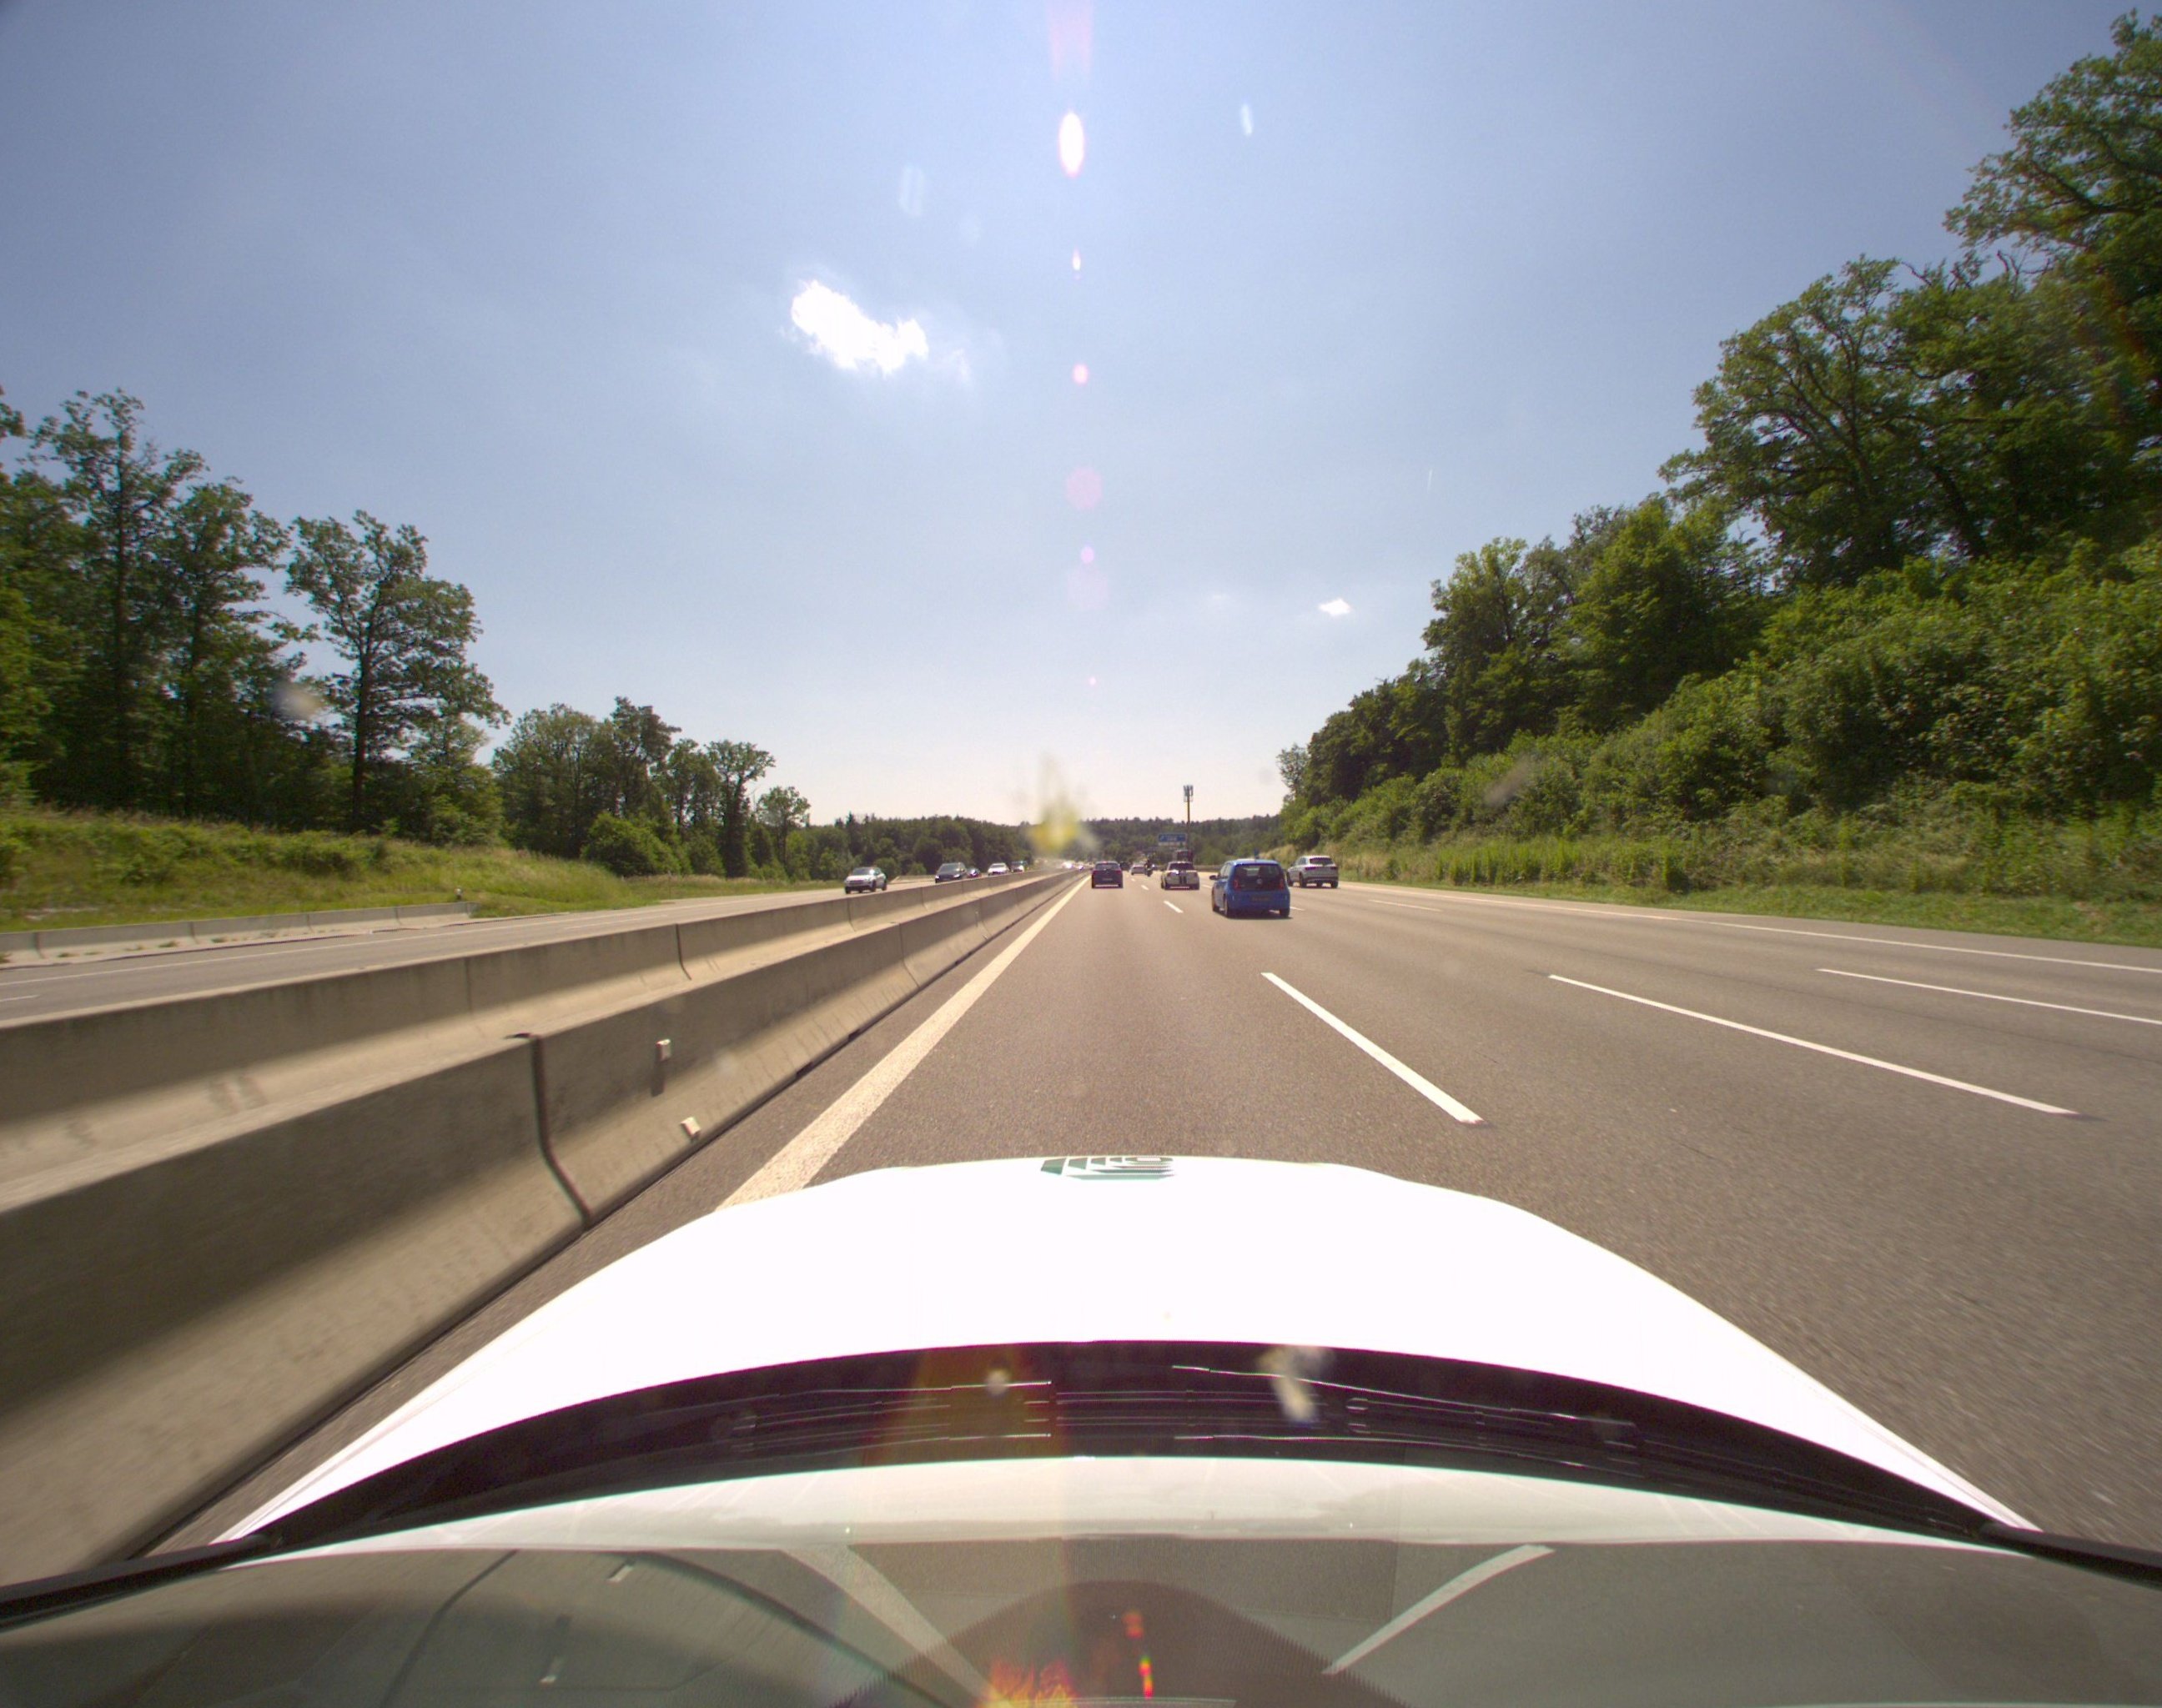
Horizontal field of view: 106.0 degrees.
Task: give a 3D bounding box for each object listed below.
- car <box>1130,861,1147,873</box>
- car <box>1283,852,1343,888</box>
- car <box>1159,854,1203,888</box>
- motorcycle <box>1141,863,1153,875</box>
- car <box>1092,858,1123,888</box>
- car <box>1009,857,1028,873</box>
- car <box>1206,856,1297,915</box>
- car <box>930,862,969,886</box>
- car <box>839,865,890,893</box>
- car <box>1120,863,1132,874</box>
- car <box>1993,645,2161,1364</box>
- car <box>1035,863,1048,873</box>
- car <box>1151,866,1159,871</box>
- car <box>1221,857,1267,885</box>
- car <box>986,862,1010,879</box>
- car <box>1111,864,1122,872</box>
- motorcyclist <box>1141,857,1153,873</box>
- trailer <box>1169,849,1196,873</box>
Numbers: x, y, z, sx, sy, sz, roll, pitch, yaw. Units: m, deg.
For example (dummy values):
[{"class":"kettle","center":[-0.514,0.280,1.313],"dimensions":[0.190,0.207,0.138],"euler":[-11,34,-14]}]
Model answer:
[{"class":"car","center":[6.524,1.458,92.362],"dimensions":[1.776,1.265,3.461],"euler":[-2,0,2]},{"class":"car","center":[12.068,0.789,42.683],"dimensions":[1.794,1.731,5.241],"euler":[0,0,1]},{"class":"car","center":[4.967,0.895,40.884],"dimensions":[1.834,1.552,4.001],"euler":[2,-2,2]},{"class":"motorcycle","center":[6.245,1.384,76.911],"dimensions":[0.974,1.129,2.271],"euler":[-2,-1,0]},{"class":"car","center":[1.464,1.009,44.441],"dimensions":[1.618,1.487,3.687],"euler":[-1,0,2]},{"class":"car","center":[-8.177,1.467,106.631],"dimensions":[1.987,2.013,4.811],"euler":[-2,0,0]},{"class":"car","center":[4.489,0.803,21.972],"dimensions":[1.730,1.411,4.001],"euler":[-1,-1,2]},{"class":"car","center":[-9.248,1.384,57.733],"dimensions":[1.794,1.548,4.731],"euler":[-2,0,2]},{"class":"car","center":[-13.408,1.526,50.744],"dimensions":[1.737,1.562,4.425],"euler":[-4,-1,2]},{"class":"car","center":[8.625,2.798,157.684],"dimensions":[2.090,1.851,4.081],"euler":[-2,0,1]},{"class":"car","center":[3.987,0.412,0.333],"dimensions":[1.954,2.053,4.786],"euler":[-1,0,2]},{"class":"car","center":[-7.589,2.715,155.959],"dimensions":[1.986,1.675,5.281],"euler":[-4,-1,1]},{"class":"car","center":[18.086,3.640,199.248],"dimensions":[1.603,1.212,3.459],"euler":[-2,-1,0]},{"class":"car","center":[8.842,0.889,44.356],"dimensions":[1.660,1.433,4.376],"euler":[-2,0,1]},{"class":"car","center":[-8.590,1.683,84.644],"dimensions":[1.889,1.662,4.729],"euler":[-2,-1,1]},{"class":"car","center":[8.068,3.162,185.325],"dimensions":[1.989,1.684,4.419],"euler":[0,0,-3]},{"class":"motorcyclist","center":[6.186,1.026,76.757],"dimensions":[0.959,1.437,1.235],"euler":[-3,-1,0]},{"class":"trailer","center":[16.591,1.246,133.810],"dimensions":[2.847,3.688,13.543],"euler":[-2,-2,1]}]
